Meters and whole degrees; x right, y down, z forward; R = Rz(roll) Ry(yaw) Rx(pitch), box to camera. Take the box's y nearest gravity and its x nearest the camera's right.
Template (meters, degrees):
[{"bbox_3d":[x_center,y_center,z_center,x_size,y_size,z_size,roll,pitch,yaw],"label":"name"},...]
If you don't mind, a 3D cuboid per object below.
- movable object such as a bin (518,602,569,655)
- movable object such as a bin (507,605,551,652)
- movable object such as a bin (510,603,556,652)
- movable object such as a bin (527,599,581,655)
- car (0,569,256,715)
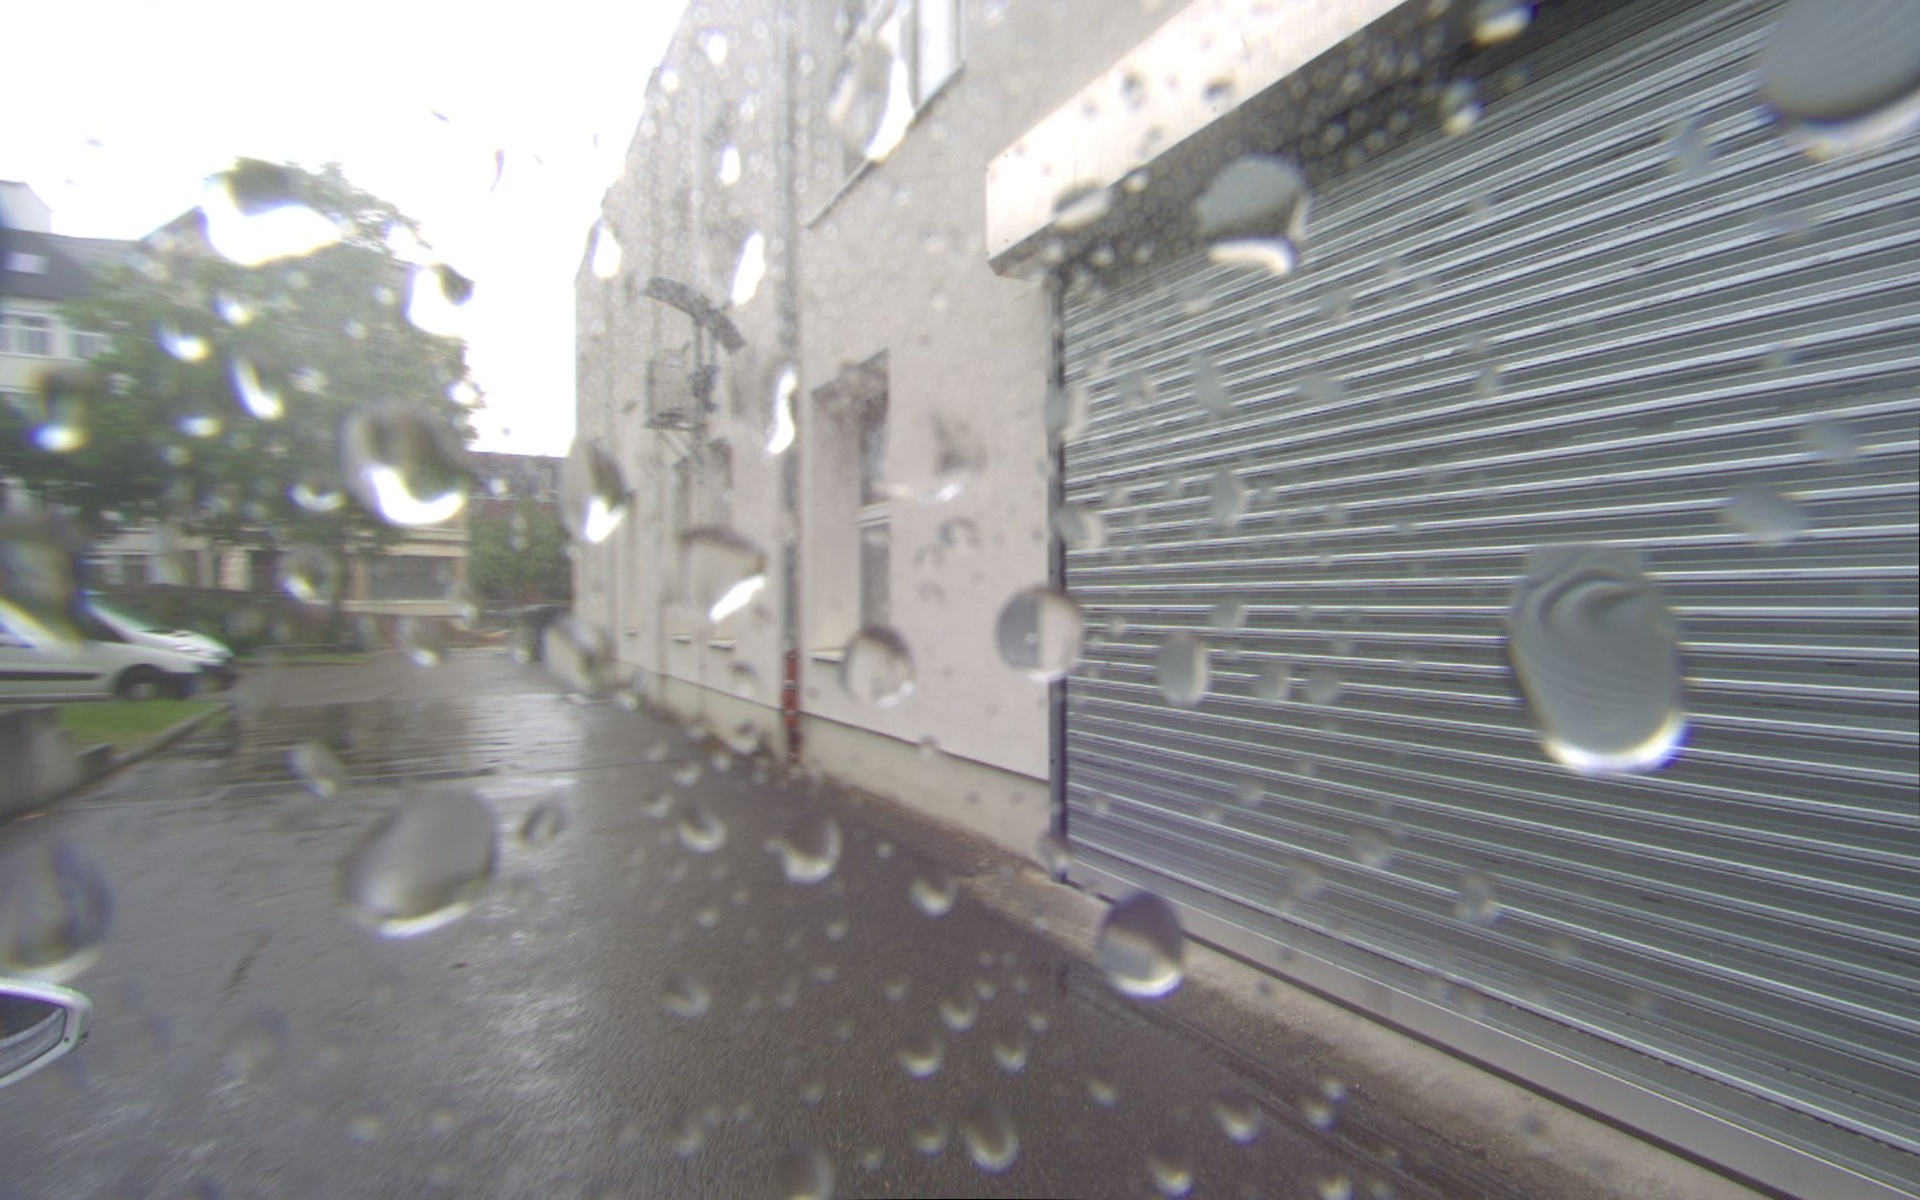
[{"bbox_3d":[-11.744,0.805,28.202,1.201,1.455,1.288,0,-2,-29],"label":"movable object such as a bin"},{"bbox_3d":[-13.829,0.916,32.120,1.201,1.455,1.253,0,-2,-29],"label":"movable object such as a bin"},{"bbox_3d":[-13.183,0.858,30.909,1.201,1.455,1.253,0,-2,-29],"label":"movable object such as a bin"},{"bbox_3d":[-10.892,0.745,26.828,1.201,1.455,1.230,0,-2,-29],"label":"movable object such as a bin"},{"bbox_3d":[-13.603,0.576,14.963,4.722,2.041,1.991,-1,1,-27],"label":"car"}]
